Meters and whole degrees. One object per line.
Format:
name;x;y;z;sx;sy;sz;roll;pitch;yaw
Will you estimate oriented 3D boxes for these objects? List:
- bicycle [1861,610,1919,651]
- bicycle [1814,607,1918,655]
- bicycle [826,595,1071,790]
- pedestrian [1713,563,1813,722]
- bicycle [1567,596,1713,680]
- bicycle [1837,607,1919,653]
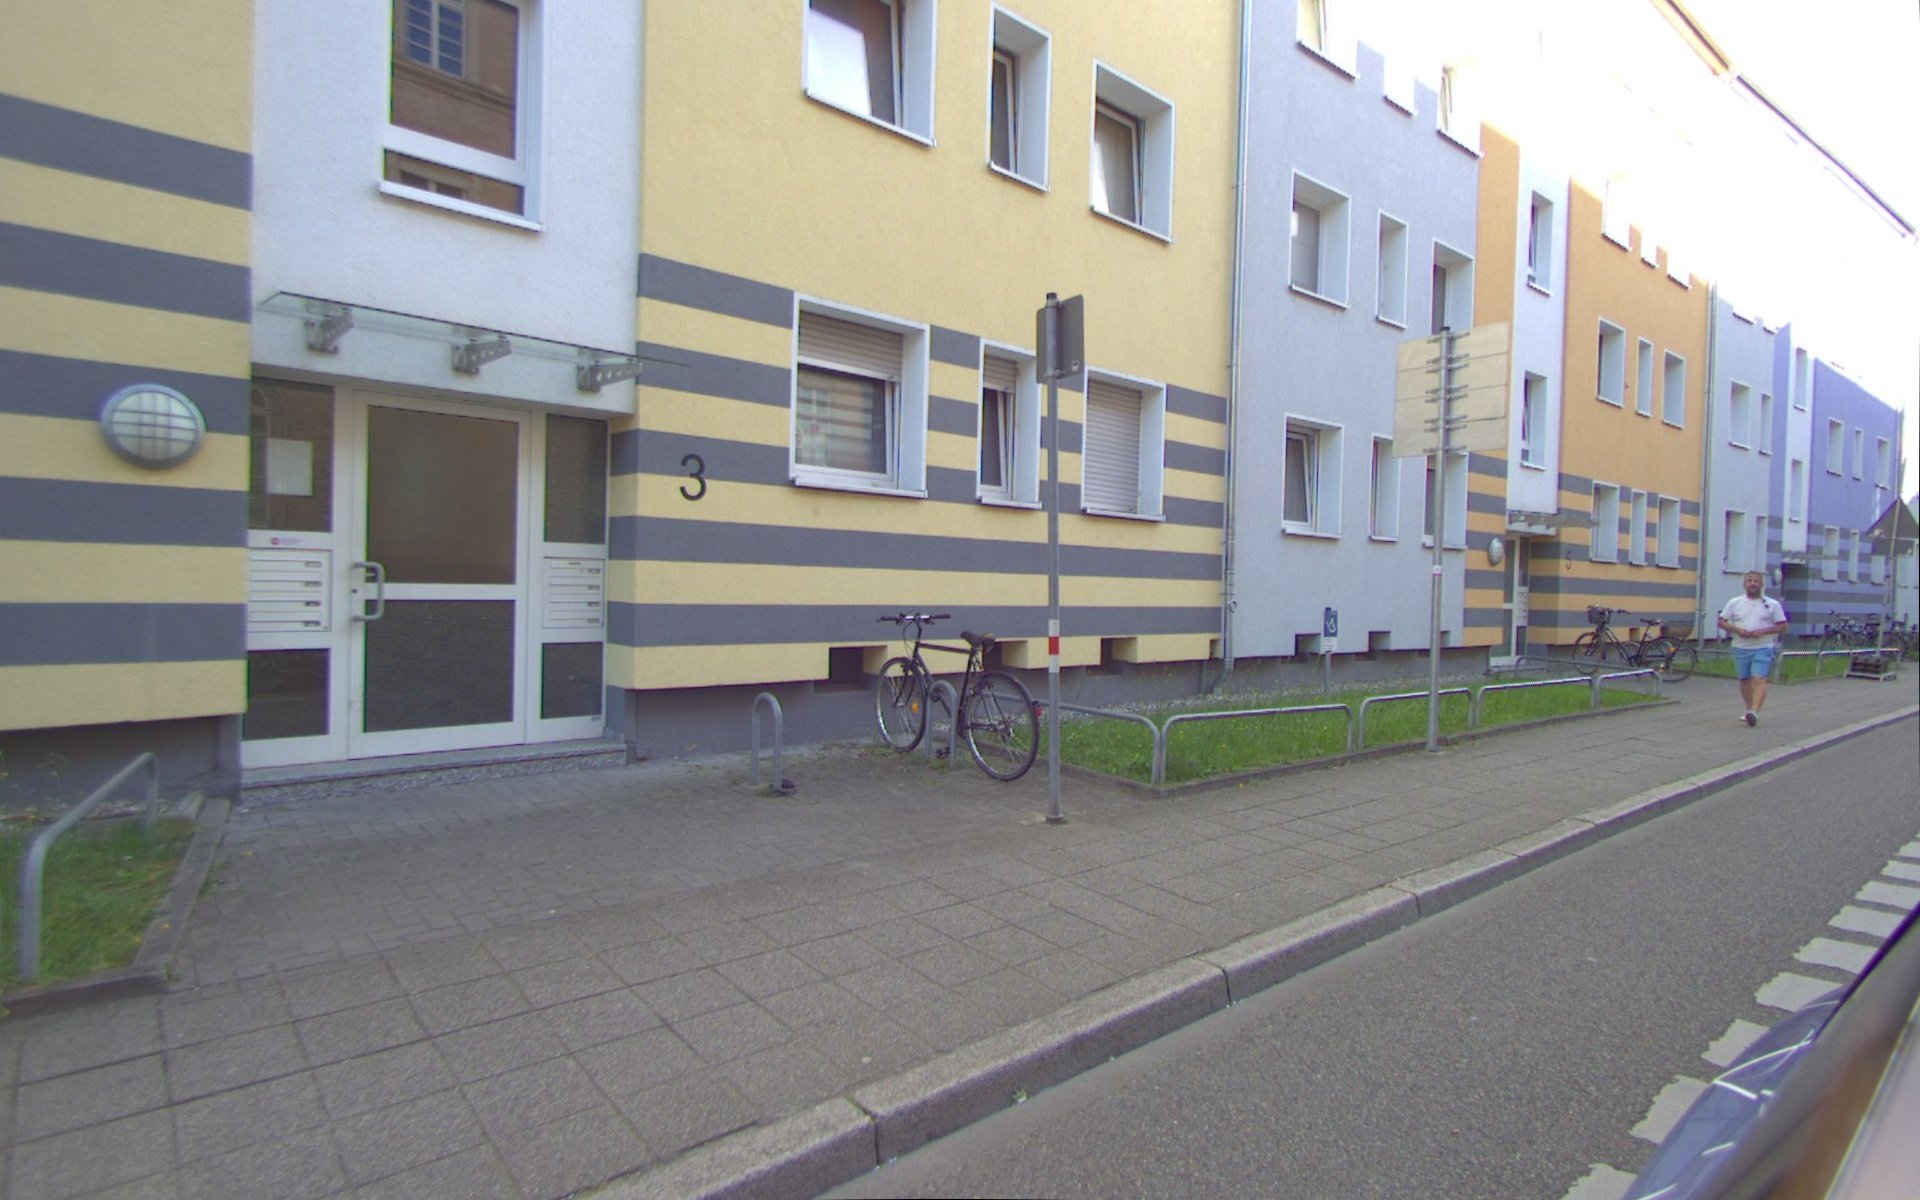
bicycle;24.043;0.792;25.584;0.572;0.950;1.779;1;3;-33
bicycle;22.177;0.733;24.806;0.572;1.007;1.779;1;3;-33
bicycle;-0.133;0.556;6.925;1.773;1.061;0.574;5;4;45
pedestrian;9.012;0.450;11.358;0.819;1.692;0.644;1;2;-39
bicycle;10.679;0.568;15.948;0.574;1.138;1.775;0;4;-42
bicycle;23.340;0.737;25.476;0.572;1.007;1.779;1;3;-33
